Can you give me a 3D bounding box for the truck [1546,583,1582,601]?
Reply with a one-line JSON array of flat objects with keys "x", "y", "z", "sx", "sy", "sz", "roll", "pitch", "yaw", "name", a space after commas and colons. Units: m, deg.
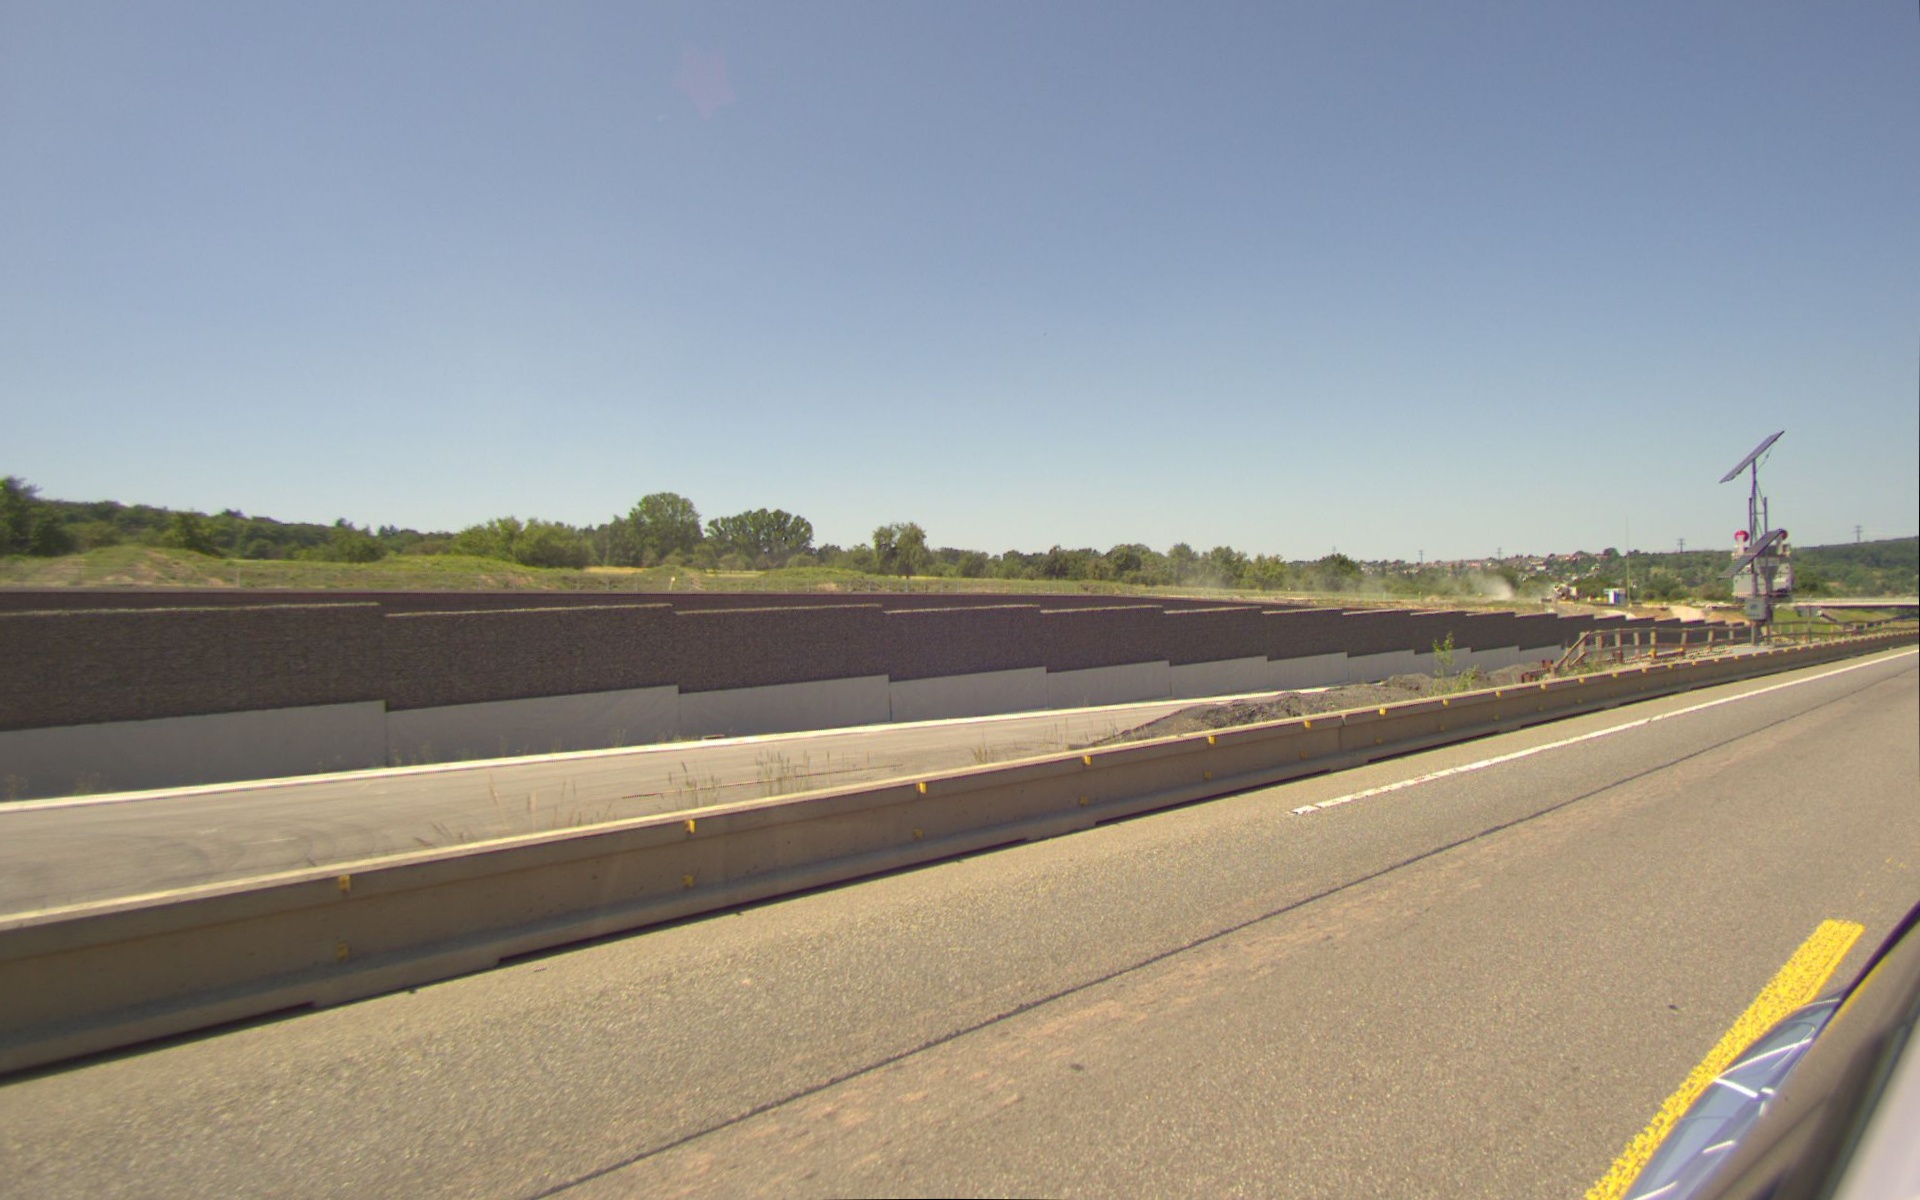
[{"x": 119.456, "y": -1.516, "z": 200.045, "sx": 8.592, "sy": 3.510, "sz": 3.156, "roll": 1, "pitch": -1, "yaw": -37, "name": "truck"}]
